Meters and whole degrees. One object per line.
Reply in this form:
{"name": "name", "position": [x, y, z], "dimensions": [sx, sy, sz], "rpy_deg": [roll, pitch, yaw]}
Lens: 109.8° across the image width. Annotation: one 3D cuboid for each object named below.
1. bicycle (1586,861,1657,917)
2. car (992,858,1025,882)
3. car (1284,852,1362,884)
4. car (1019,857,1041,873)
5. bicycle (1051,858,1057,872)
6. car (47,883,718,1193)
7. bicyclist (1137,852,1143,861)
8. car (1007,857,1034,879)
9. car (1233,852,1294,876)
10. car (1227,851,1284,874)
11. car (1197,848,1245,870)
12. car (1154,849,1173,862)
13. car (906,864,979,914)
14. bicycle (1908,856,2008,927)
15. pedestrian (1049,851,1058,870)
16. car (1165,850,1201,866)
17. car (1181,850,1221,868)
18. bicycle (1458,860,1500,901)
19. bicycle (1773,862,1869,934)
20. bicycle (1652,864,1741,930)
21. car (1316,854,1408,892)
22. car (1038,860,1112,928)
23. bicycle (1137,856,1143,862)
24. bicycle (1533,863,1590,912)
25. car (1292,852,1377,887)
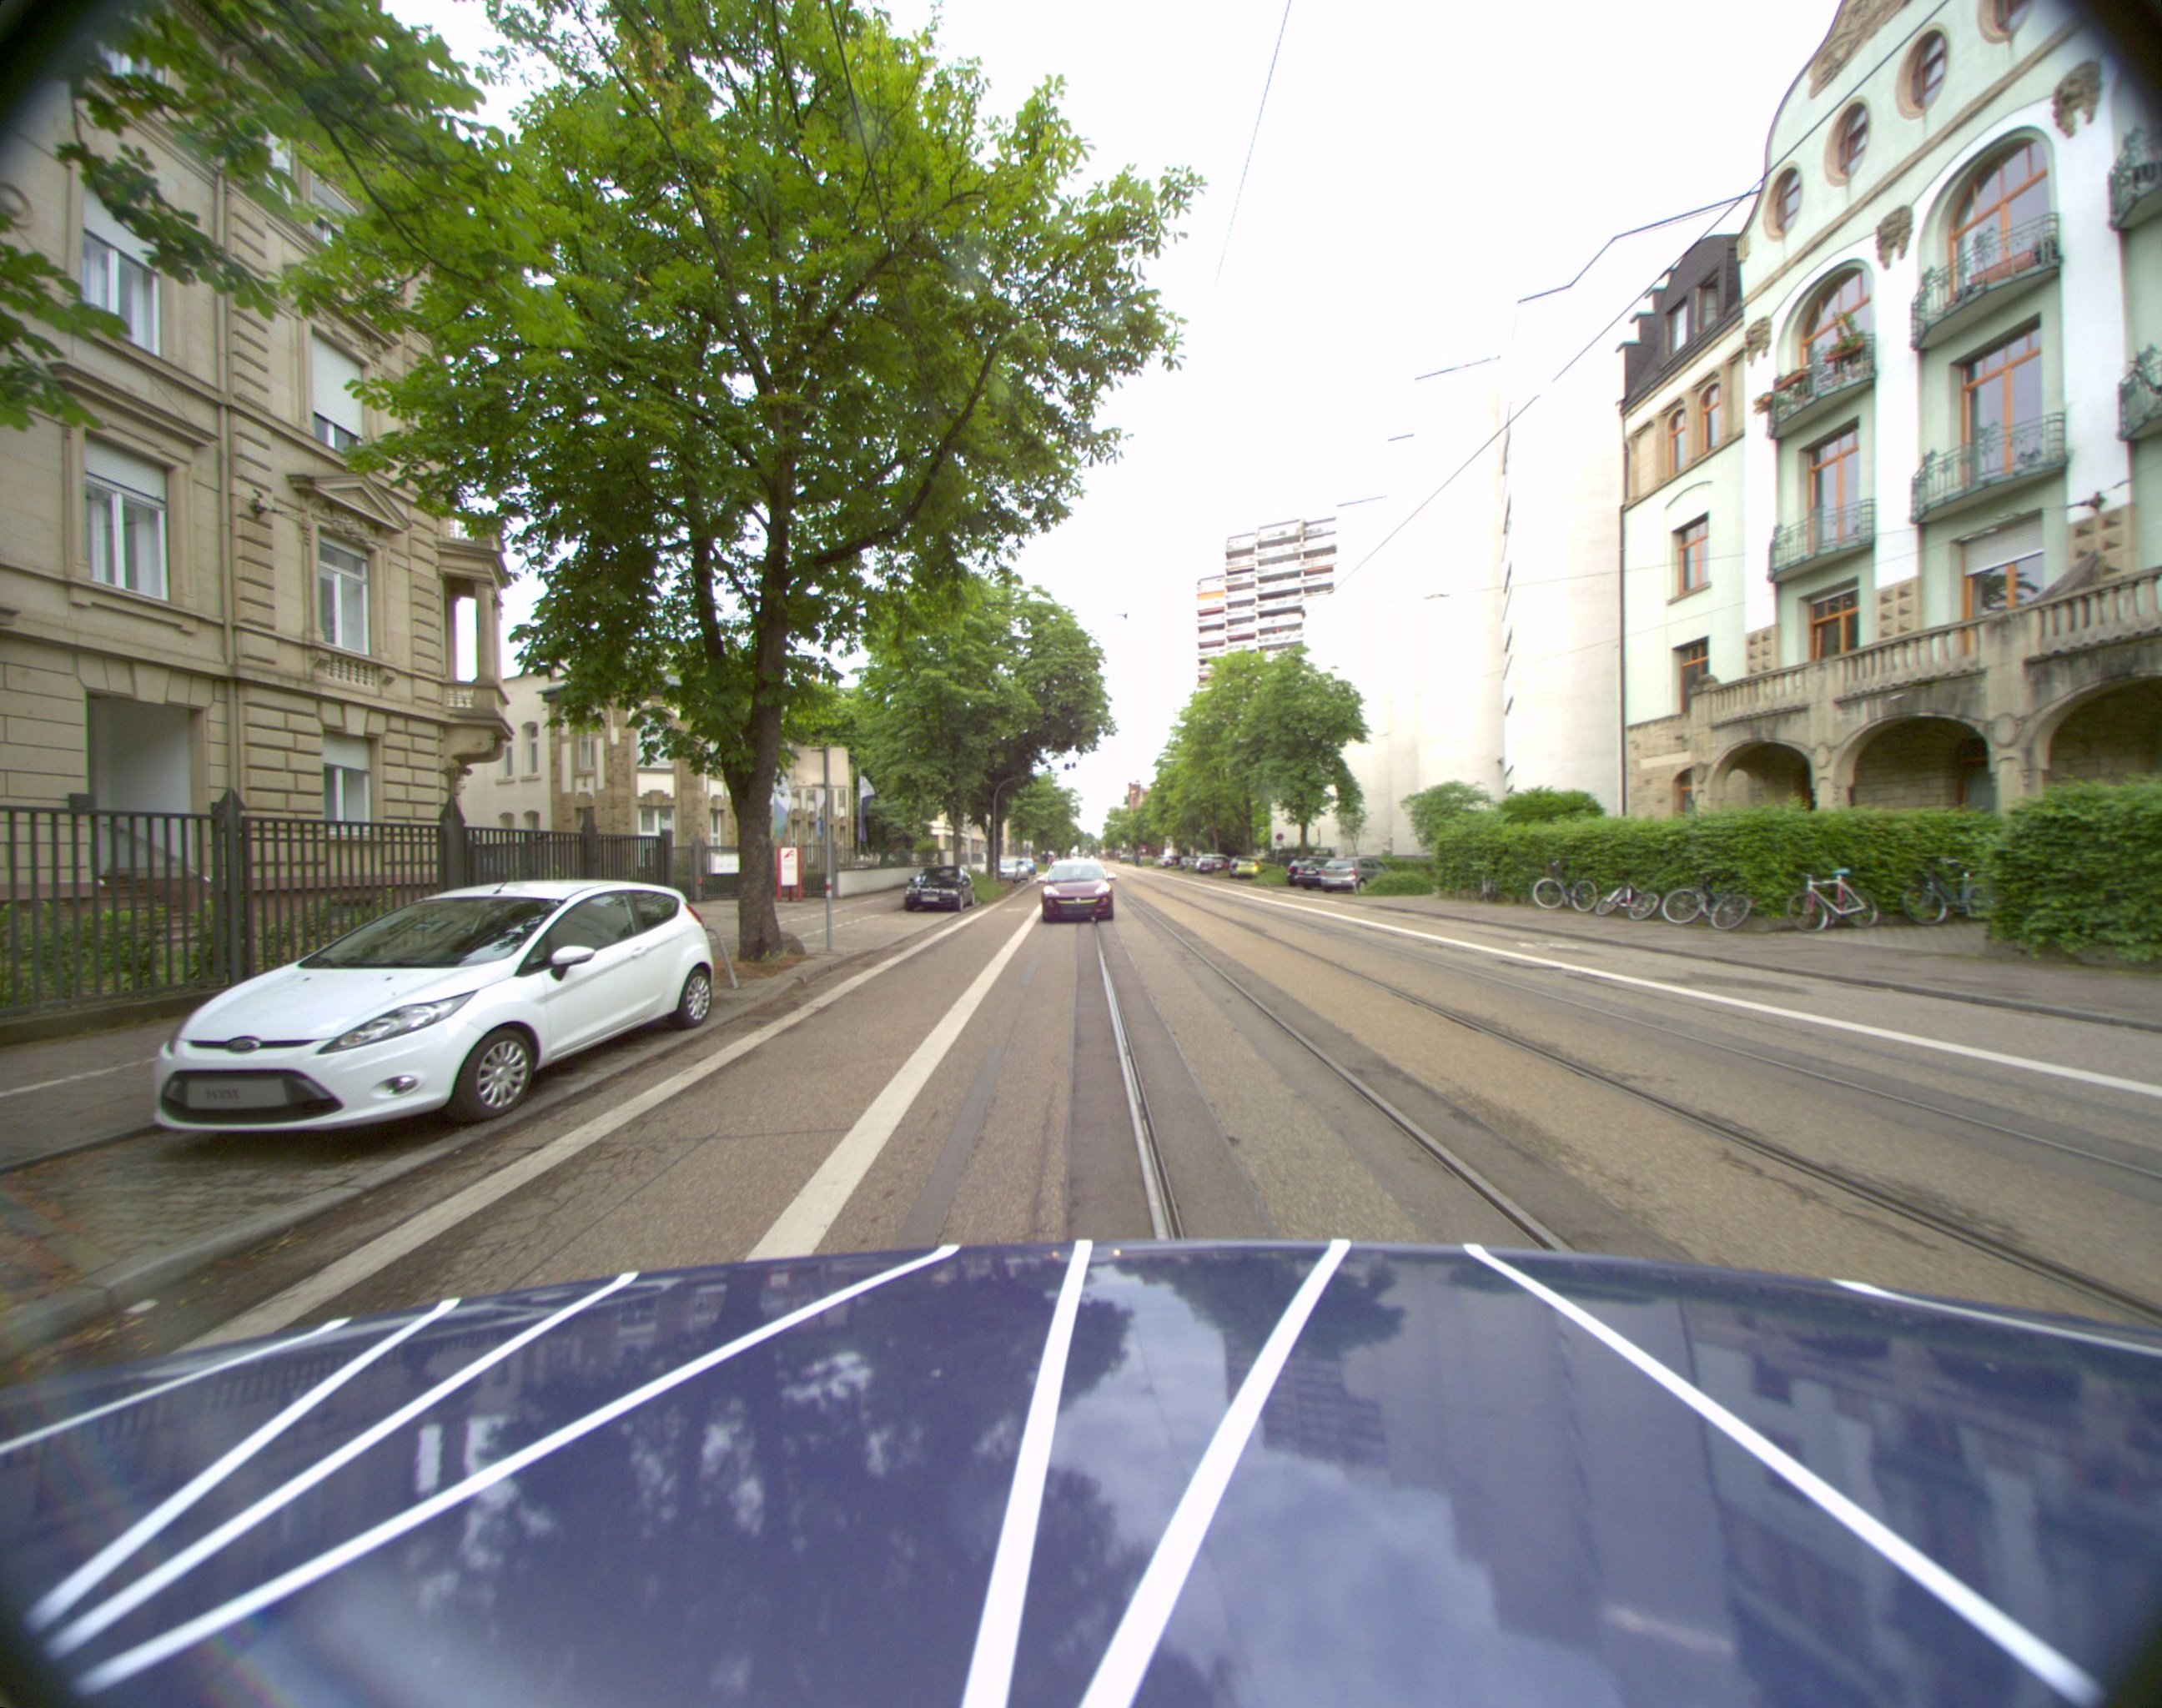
{"name": "bicycle", "position": [11.090, 0.690, 15.645], "dimensions": [0.360, 1.077, 1.546], "rpy_deg": [-1, 0, 0]}
{"name": "car", "position": [-4.409, 0.940, 46.788], "dimensions": [1.606, 1.362, 3.836], "rpy_deg": [1, 0, 0]}
{"name": "car", "position": [11.756, 0.658, 36.802], "dimensions": [4.008, 1.395, 1.691], "rpy_deg": [-1, 1, -39]}
{"name": "car", "position": [-4.472, 0.948, 66.561], "dimensions": [1.606, 1.362, 3.836], "rpy_deg": [1, 0, 0]}
{"name": "bicycle", "position": [-2.240, 0.909, 63.381], "dimensions": [0.414, 1.197, 1.707], "rpy_deg": [-1, 1, 1]}
{"name": "car", "position": [-4.511, 1.022, 5.807], "dimensions": [1.631, 1.427, 3.764], "rpy_deg": [1, 0, 0]}
{"name": "bicyclist", "position": [7.795, 0.304, 100.930], "dimensions": [0.751, 1.247, 0.876], "rpy_deg": [-1, 1, 8]}
{"name": "car", "position": [-4.266, 0.975, 54.131], "dimensions": [1.606, 1.416, 3.836], "rpy_deg": [1, 0, 0]}
{"name": "car", "position": [11.314, 0.574, 46.976], "dimensions": [4.008, 1.387, 1.690], "rpy_deg": [-1, 1, -43]}
{"name": "car", "position": [11.546, 0.523, 50.025], "dimensions": [4.008, 1.434, 1.690], "rpy_deg": [-1, 1, -43]}
{"name": "car", "position": [11.021, 0.373, 59.749], "dimensions": [4.008, 1.611, 1.690], "rpy_deg": [-1, 1, -43]}
{"name": "car", "position": [10.093, 0.164, 93.291], "dimensions": [1.694, 1.611, 3.999], "rpy_deg": [-1, 0, -1]}
{"name": "car", "position": [-4.340, 1.062, 24.335], "dimensions": [1.606, 1.362, 3.836], "rpy_deg": [1, 0, 0]}
{"name": "bicycle", "position": [14.231, 0.605, 12.341], "dimensions": [1.205, 1.077, 0.300], "rpy_deg": [-3, 1, 2]}
{"name": "pedestrian", "position": [-2.267, 0.551, 63.277], "dimensions": [0.684, 1.541, 0.704], "rpy_deg": [-1, 1, 1]}
{"name": "car", "position": [11.171, 0.410, 82.997], "dimensions": [4.008, 1.611, 1.690], "rpy_deg": [-1, 1, -43]}
{"name": "car", "position": [11.546, 0.458, 73.164], "dimensions": [4.008, 1.611, 1.690], "rpy_deg": [-1, 1, -43]}
{"name": "bicycle", "position": [11.109, 0.722, 21.268], "dimensions": [0.360, 1.077, 1.546], "rpy_deg": [-1, 0, 0]}
{"name": "bicycle", "position": [12.015, 0.714, 12.347], "dimensions": [1.205, 1.077, 0.300], "rpy_deg": [-3, 1, 2]}
{"name": "bicycle", "position": [11.036, 0.743, 13.679], "dimensions": [0.360, 1.077, 1.546], "rpy_deg": [-1, 0, 0]}
{"name": "car", "position": [11.441, 0.741, 30.805], "dimensions": [4.008, 1.395, 1.691], "rpy_deg": [-1, 1, -39]}
{"name": "car", "position": [-0.096, 0.917, 19.101], "dimensions": [1.606, 1.427, 3.777], "rpy_deg": [-3, 0, 1]}
{"name": "bicycle", "position": [7.823, 0.659, 100.869], "dimensions": [0.567, 0.784, 1.891], "rpy_deg": [-1, 0, 8]}
{"name": "bicycle", "position": [11.182, 0.752, 17.727], "dimensions": [0.360, 1.077, 1.546], "rpy_deg": [-1, 0, 0]}
{"name": "car", "position": [11.259, 0.645, 33.637], "dimensions": [4.008, 1.395, 1.691], "rpy_deg": [-1, 1, -39]}
